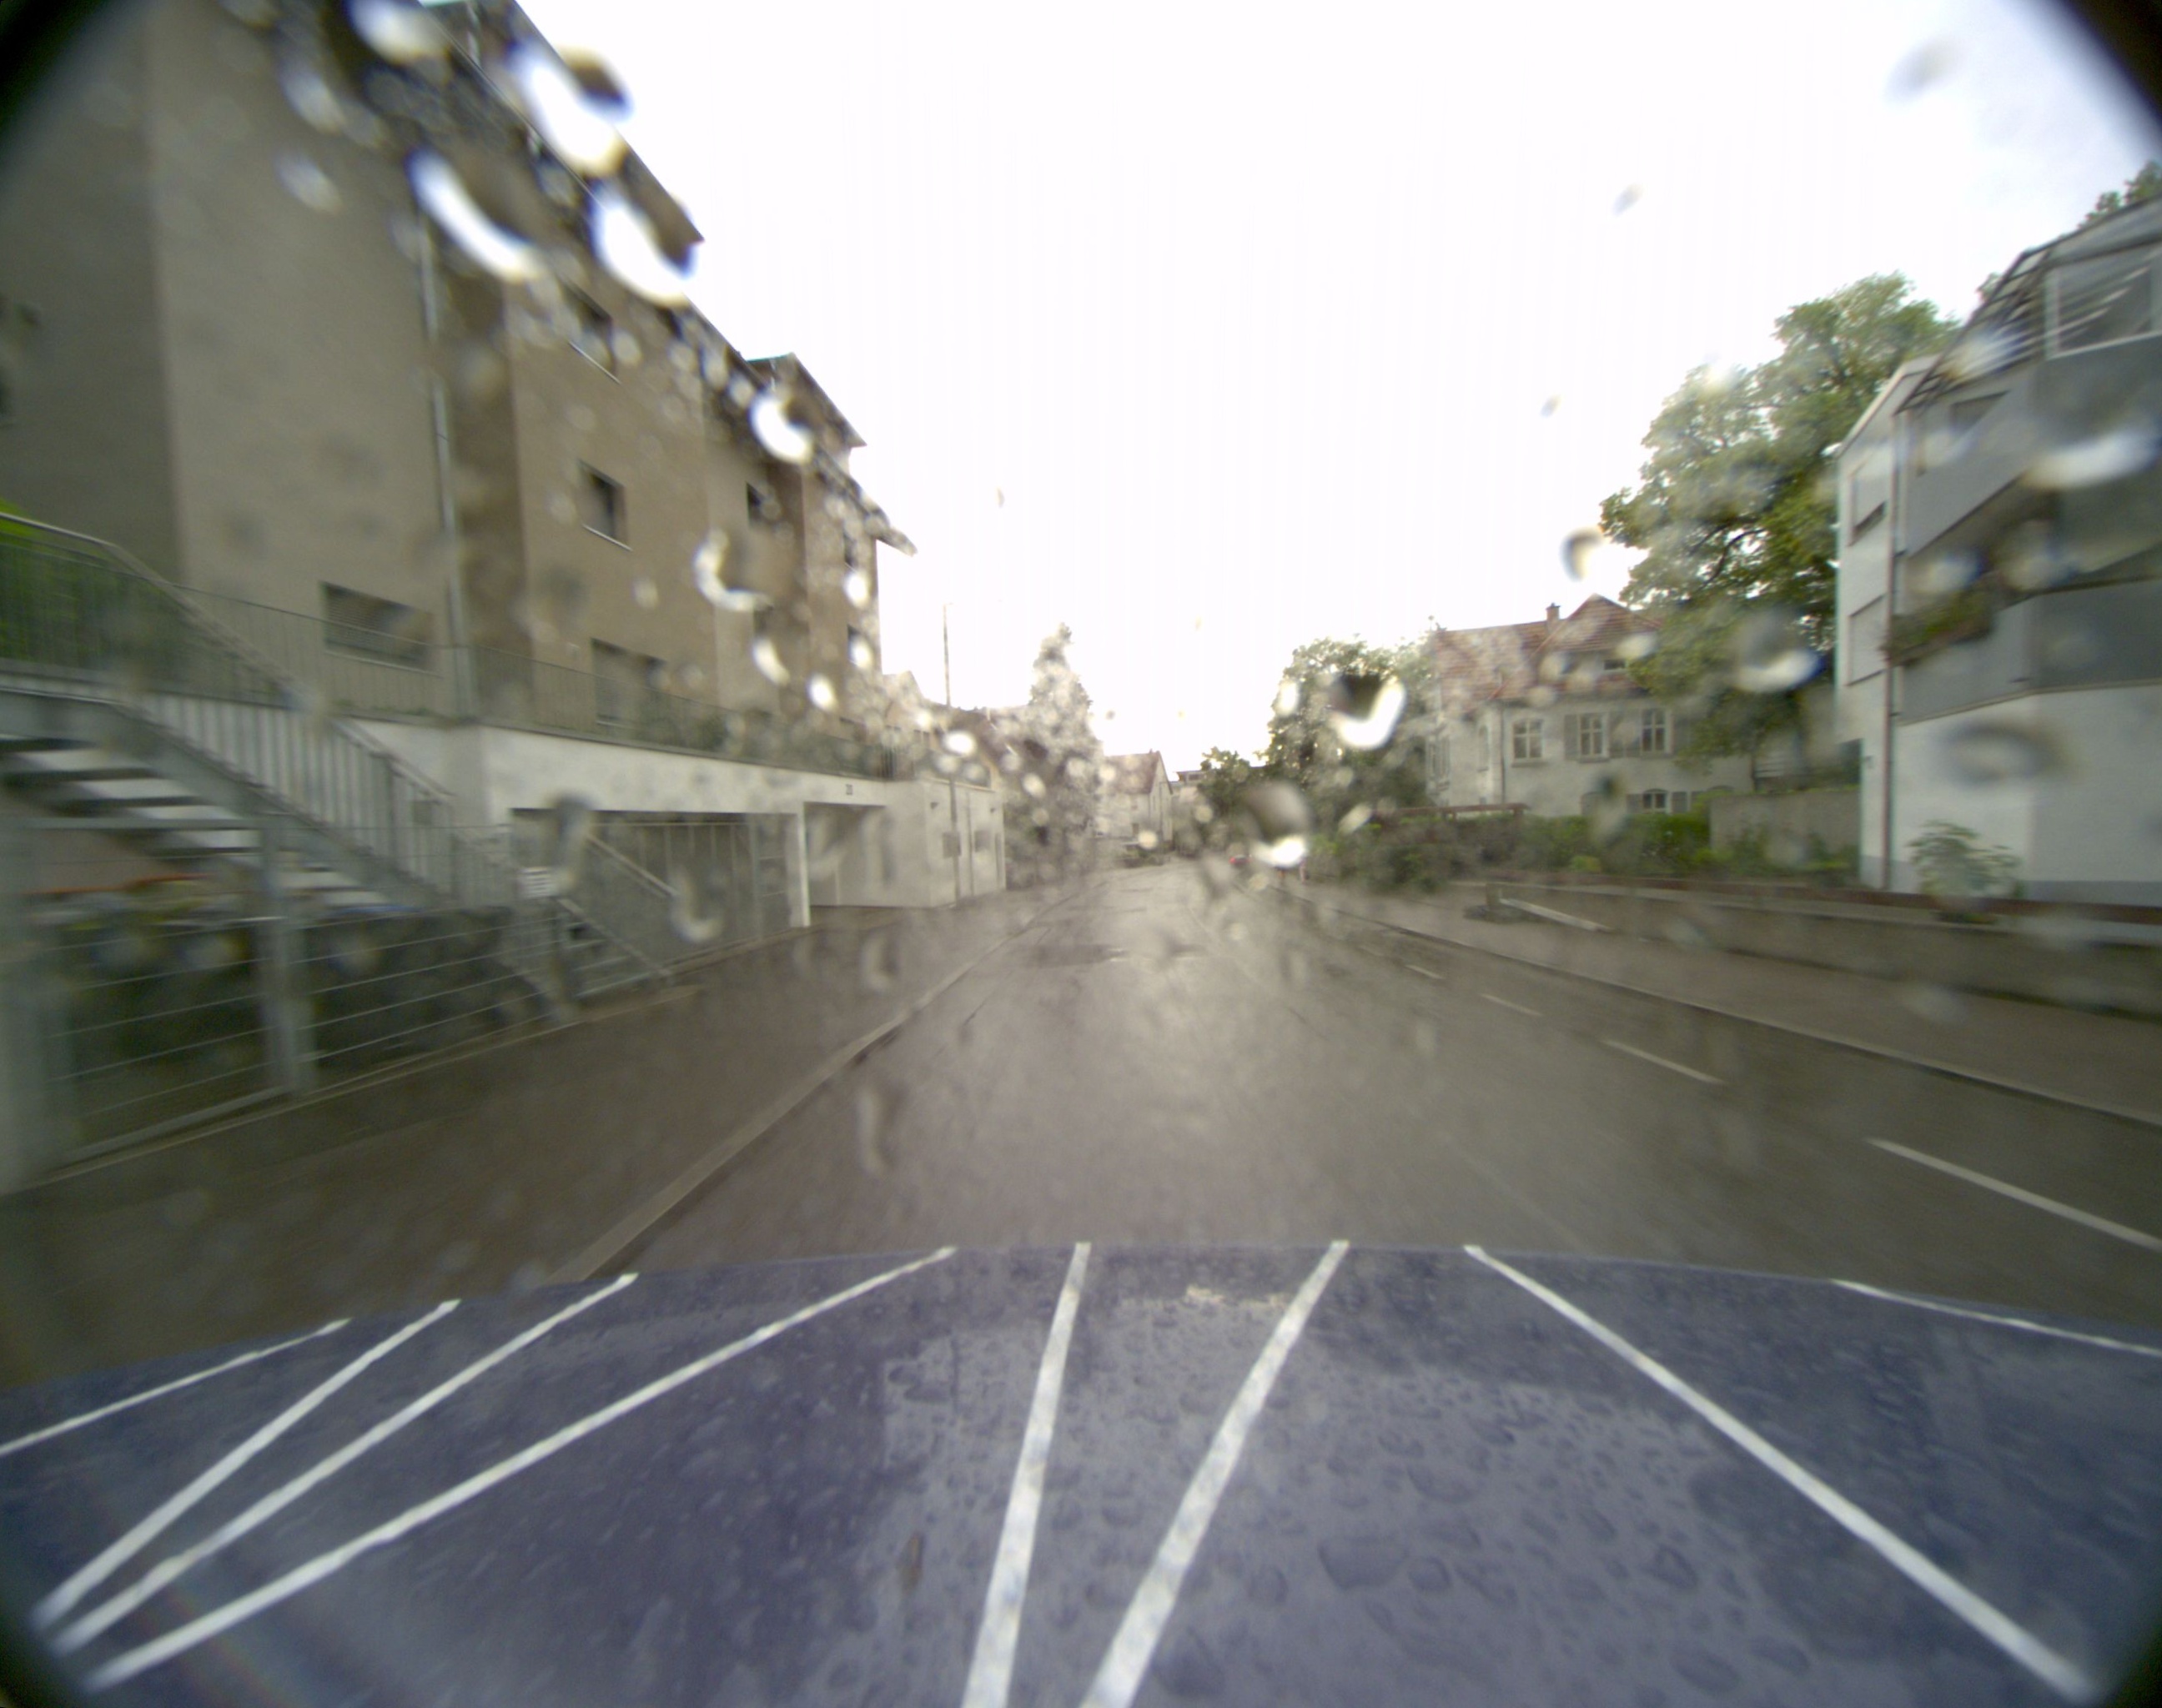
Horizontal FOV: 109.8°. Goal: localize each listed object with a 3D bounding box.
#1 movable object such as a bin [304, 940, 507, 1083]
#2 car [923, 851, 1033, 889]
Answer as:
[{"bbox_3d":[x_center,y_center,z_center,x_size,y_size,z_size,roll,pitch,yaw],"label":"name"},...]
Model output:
[{"bbox_3d":[-5.197,1.193,5.899,0.876,0.936,0.746,-2,1,2],"label":"movable object such as a bin"},{"bbox_3d":[-4.239,0.649,31.366,3.991,1.449,2.002,-1,1,19],"label":"car"}]
